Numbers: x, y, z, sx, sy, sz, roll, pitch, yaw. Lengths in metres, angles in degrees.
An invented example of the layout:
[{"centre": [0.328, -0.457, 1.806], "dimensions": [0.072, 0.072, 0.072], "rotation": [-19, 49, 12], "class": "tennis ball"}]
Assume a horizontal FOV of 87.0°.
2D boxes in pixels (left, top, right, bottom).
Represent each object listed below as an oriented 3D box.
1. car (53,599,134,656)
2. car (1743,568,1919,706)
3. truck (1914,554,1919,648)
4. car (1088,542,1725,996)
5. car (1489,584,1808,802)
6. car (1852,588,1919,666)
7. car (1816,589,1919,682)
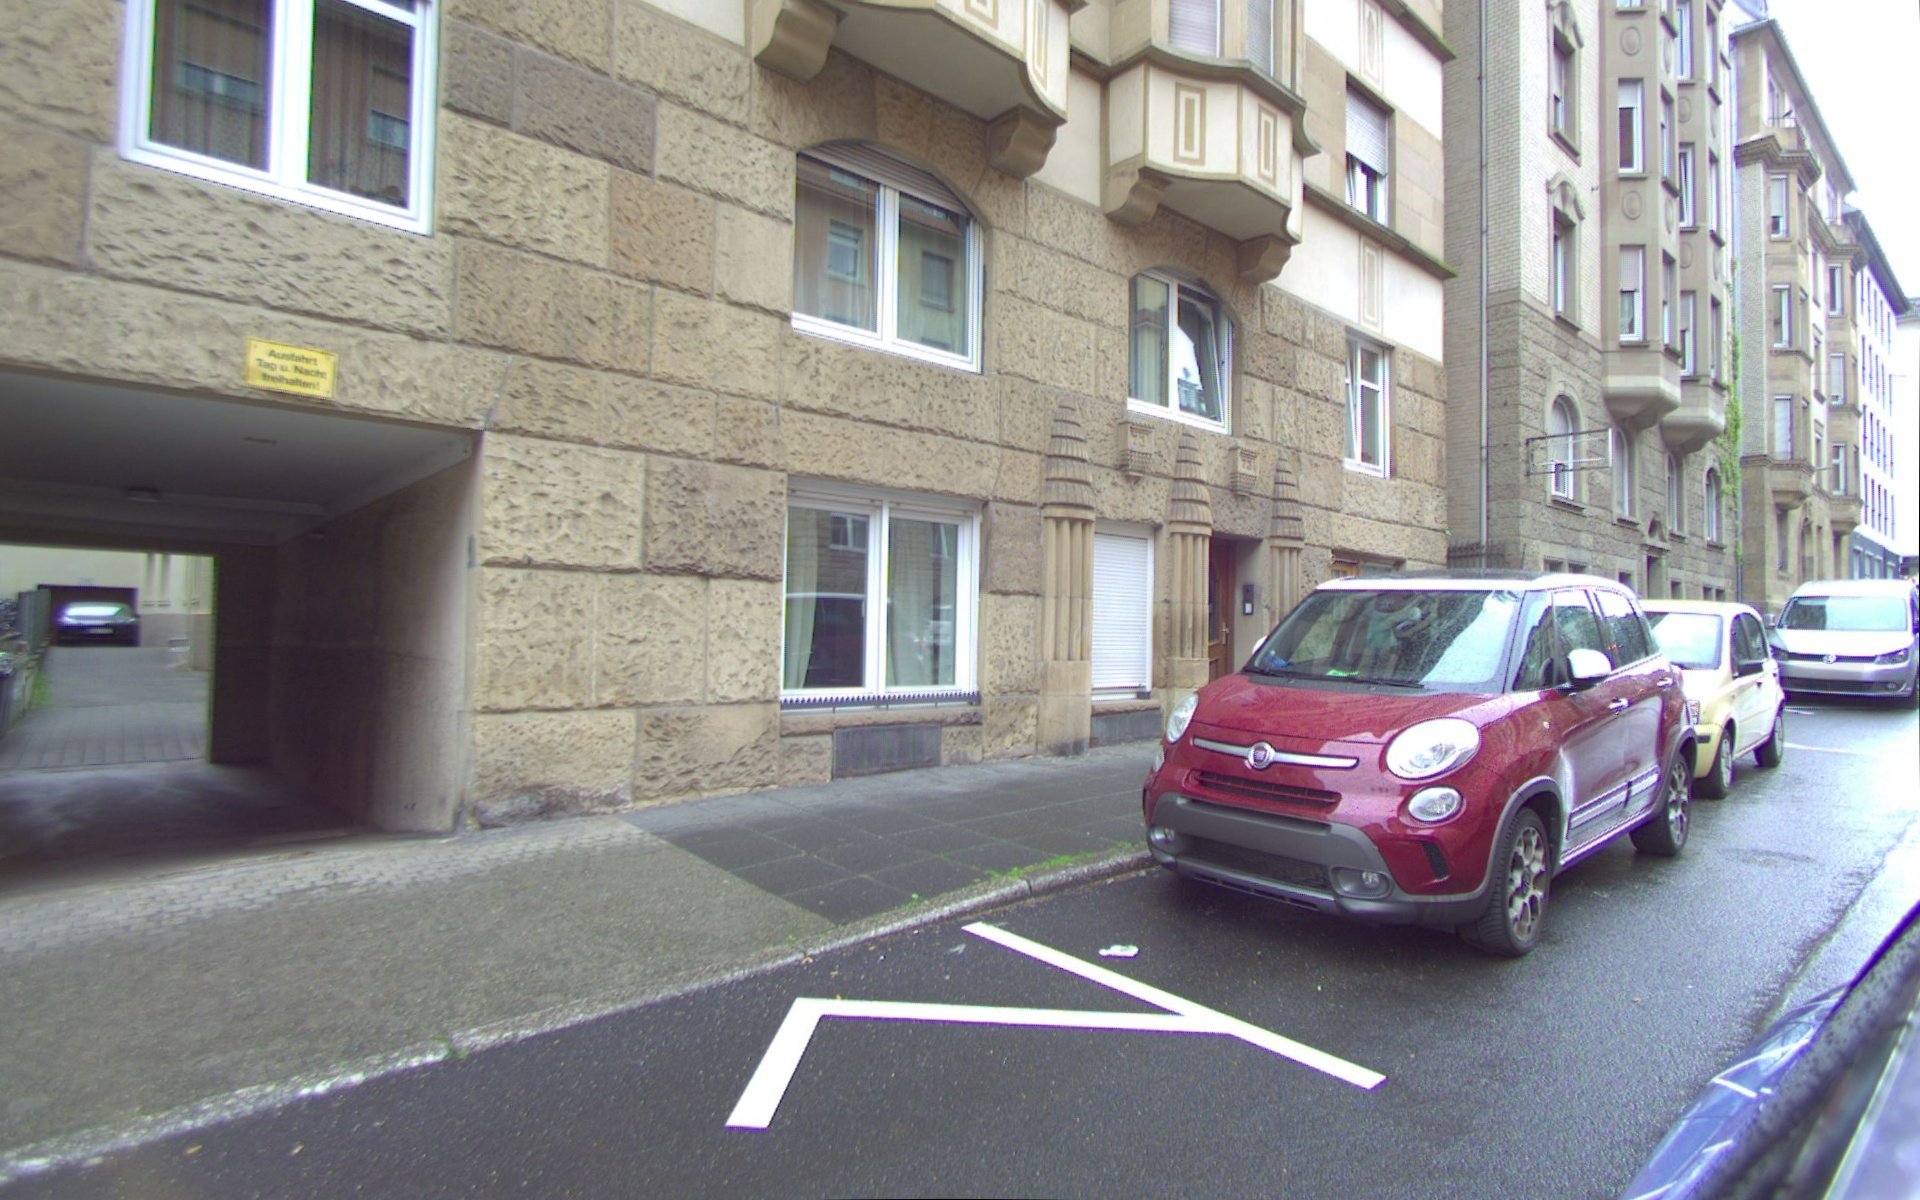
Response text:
[{"centre": [-25.178, 0.755, 29.451], "dimensions": [1.692, 1.541, 4.098], "rotation": [0, -1, -41], "class": "car"}, {"centre": [13.769, 0.489, 15.501], "dimensions": [4.380, 1.825, 1.966], "rotation": [0, -1, -41], "class": "car"}, {"centre": [29.170, 0.006, 28.869], "dimensions": [6.036, 2.568, 2.233], "rotation": [0, -1, -41], "class": "truck"}, {"centre": [2.684, 0.605, 5.623], "dimensions": [3.932, 1.619, 1.804], "rotation": [0, -1, -42], "class": "car"}, {"centre": [6.205, 0.667, 8.984], "dimensions": [3.517, 1.549, 1.578], "rotation": [0, -1, -43], "class": "car"}, {"centre": [20.484, 0.534, 21.431], "dimensions": [3.860, 1.549, 1.889], "rotation": [0, -1, -41], "class": "car"}, {"centre": [17.177, 0.588, 18.492], "dimensions": [3.934, 1.549, 1.994], "rotation": [0, -1, -45], "class": "car"}]
